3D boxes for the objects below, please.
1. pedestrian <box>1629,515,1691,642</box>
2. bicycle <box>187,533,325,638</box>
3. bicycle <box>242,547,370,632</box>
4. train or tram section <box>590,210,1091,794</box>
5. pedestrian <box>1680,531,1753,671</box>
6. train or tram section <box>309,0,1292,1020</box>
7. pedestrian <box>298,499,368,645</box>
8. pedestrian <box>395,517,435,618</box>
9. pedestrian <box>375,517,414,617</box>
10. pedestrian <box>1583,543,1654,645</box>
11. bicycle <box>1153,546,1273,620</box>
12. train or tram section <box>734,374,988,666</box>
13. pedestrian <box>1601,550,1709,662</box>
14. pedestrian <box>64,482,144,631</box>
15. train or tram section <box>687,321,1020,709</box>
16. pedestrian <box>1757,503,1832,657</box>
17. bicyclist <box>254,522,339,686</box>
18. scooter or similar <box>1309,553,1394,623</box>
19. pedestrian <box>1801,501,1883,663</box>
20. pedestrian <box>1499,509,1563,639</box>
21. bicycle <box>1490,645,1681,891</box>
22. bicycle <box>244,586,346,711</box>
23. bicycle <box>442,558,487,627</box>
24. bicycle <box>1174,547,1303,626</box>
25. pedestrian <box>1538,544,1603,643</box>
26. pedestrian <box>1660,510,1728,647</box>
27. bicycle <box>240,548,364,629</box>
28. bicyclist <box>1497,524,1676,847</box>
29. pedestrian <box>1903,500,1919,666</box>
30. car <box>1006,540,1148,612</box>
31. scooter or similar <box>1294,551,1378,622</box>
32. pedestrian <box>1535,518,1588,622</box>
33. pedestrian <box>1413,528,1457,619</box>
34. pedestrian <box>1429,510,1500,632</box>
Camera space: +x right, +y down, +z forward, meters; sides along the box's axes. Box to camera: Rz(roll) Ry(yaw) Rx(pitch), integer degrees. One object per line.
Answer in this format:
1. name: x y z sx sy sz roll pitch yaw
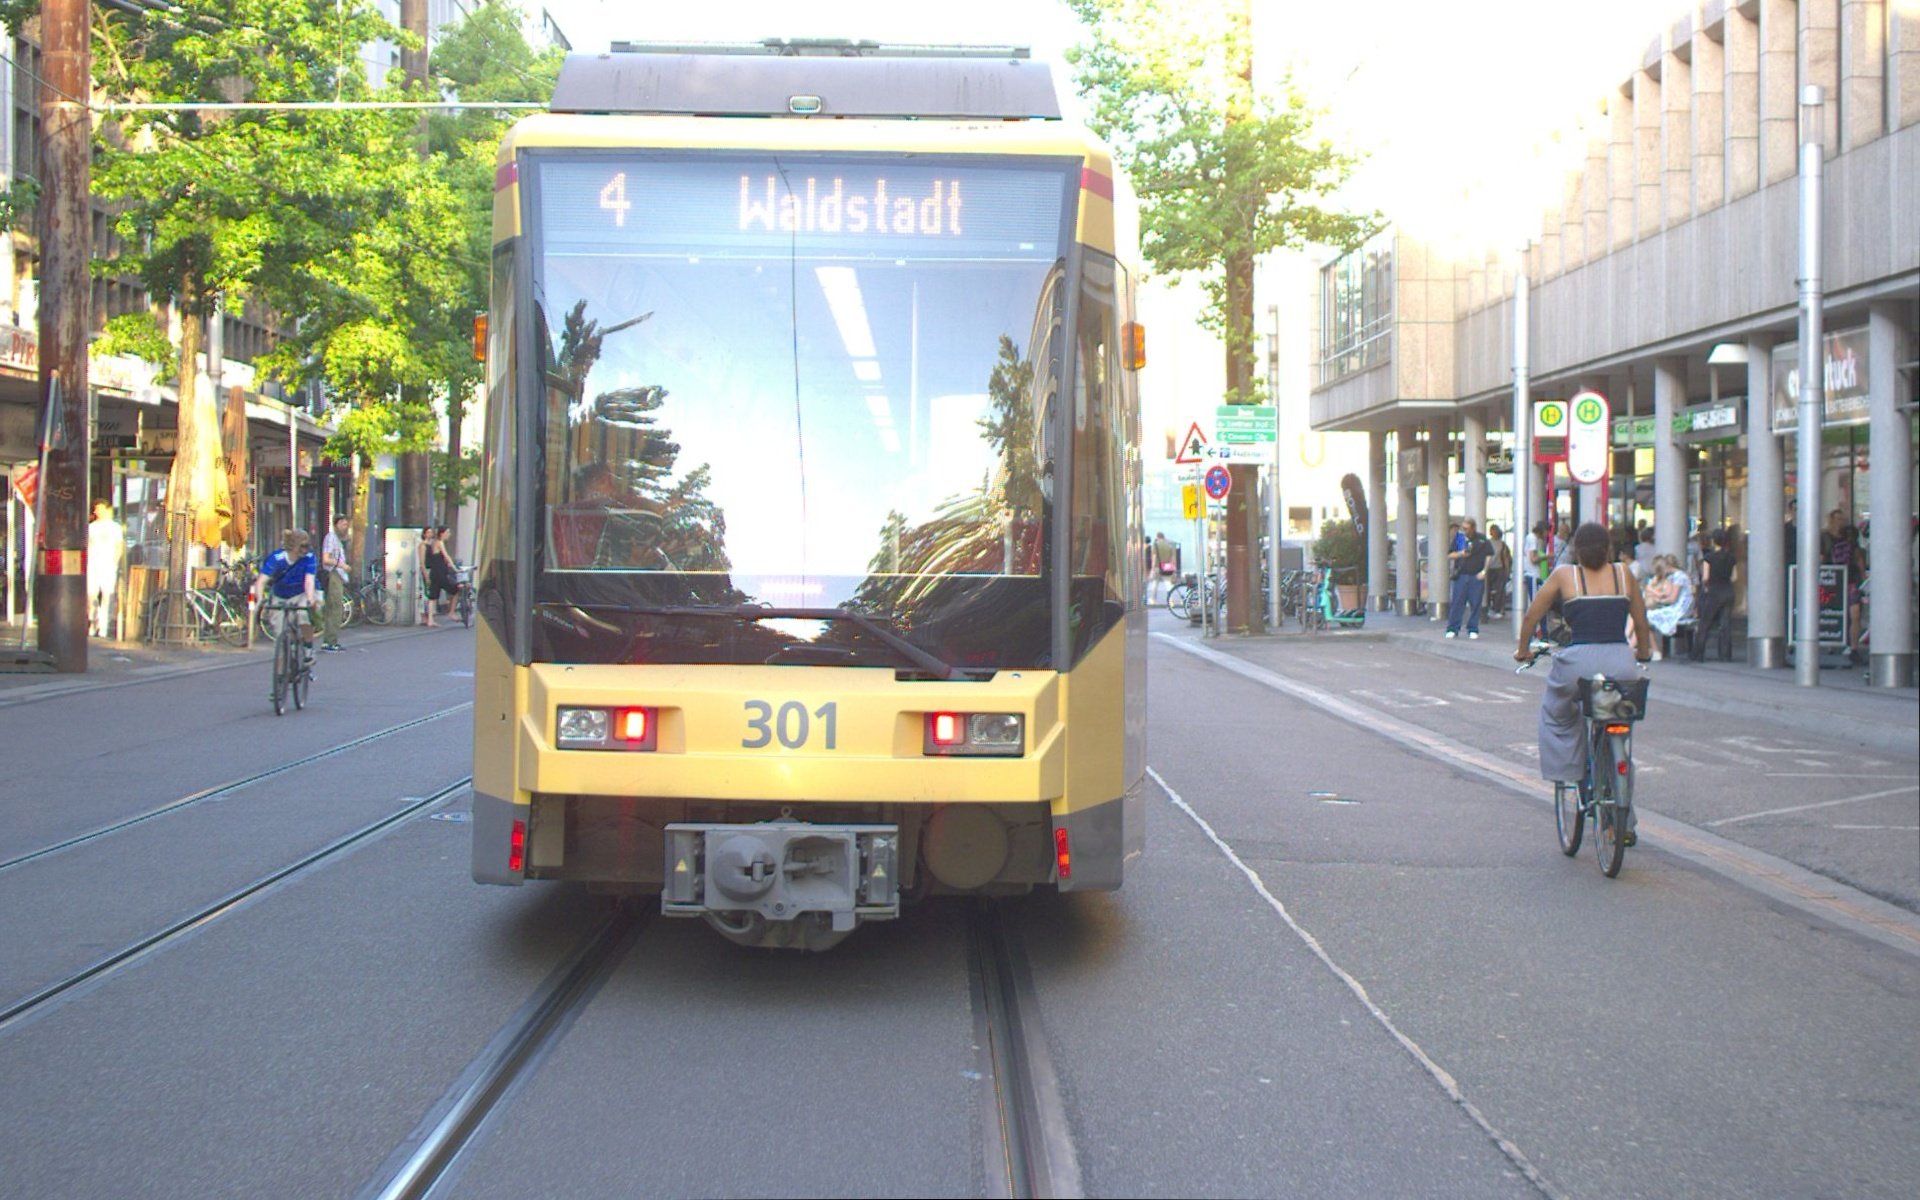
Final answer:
1. pedestrian: 10.333 -0.323 50.761 0.701 1.833 0.829 -2 2 0
2. bicycle: -9.805 -0.203 47.868 1.796 1.355 0.660 3 0 -12
3. bicycle: -9.434 -0.150 49.627 1.733 1.122 0.613 3 0 -7
4. train or tram section: -0.850 -0.678 26.179 3.007 3.511 10.403 1 1 -1
5. pedestrian: 9.011 0.003 40.972 0.701 1.632 0.646 -2 2 0
6. train or tram section: -0.611 -0.529 15.798 3.016 3.511 10.371 0 1 -1
7. pedestrian: -8.206 -0.364 45.011 0.750 1.873 0.576 3 0 -5
8. pedestrian: -9.272 -0.555 58.525 0.551 1.681 0.576 3 0 -5
9. pedestrian: -9.739 -0.563 59.155 0.573 1.681 0.553 3 0 -10
10. pedestrian: 8.835 -0.087 46.138 0.806 1.323 0.626 -2 2 0
11. bicycle: 5.134 -0.342 69.787 2.328 1.466 0.791 1 0 -4
12. train or tram section: -1.338 -1.067 47.489 3.044 3.511 10.532 1 1 -1
13. pedestrian: 8.559 0.063 42.369 1.112 1.323 0.926 -2 1 0
14. pedestrian: -11.711 -0.594 47.054 0.849 2.007 0.921 1 0 -1
15. train or tram section: -1.097 -0.864 36.803 3.003 3.511 10.846 1 1 -1
16. pedestrian: 10.108 -0.252 41.669 0.701 1.833 0.706 -2 2 0
17. bicyclist: -5.816 0.032 30.159 0.620 1.411 0.700 1 0 -3
18. scooter or similar: 6.869 -0.205 60.269 1.379 1.206 0.516 -1 0 -14
19. pedestrian: 10.278 -0.219 40.085 0.701 1.833 0.829 -2 2 0
20. pedestrian: 7.915 -0.355 47.693 0.749 1.775 0.891 1 0 3
21. bicycle: 3.046 0.790 16.910 0.656 1.057 2.057 2 1 4
22. bicycle: -5.828 0.410 30.180 0.641 1.019 1.589 2 1 -3
23. bicycle: -8.366 -0.134 58.100 0.611 1.122 2.252 3 0 -6
24. bicycle: 5.314 -0.254 65.696 2.328 1.466 0.791 1 0 -4
25. pedestrian: 8.511 -0.095 47.946 0.739 1.323 0.720 -2 2 0
26. pedestrian: 10.019 -0.303 46.948 0.701 1.833 0.829 -2 2 0
27. bicycle: -9.959 -0.172 52.054 1.733 1.122 0.563 3 0 -4
28. bicyclist: 3.056 0.406 16.827 0.726 1.521 0.733 2 0 3
29. pedestrian: 10.915 -0.197 38.210 0.596 1.833 0.829 -2 2 0
30. car: 2.677 -0.531 78.056 1.645 1.588 3.913 1 0 28
31. scooter or similar: 6.693 -0.240 61.159 1.379 1.246 0.557 -1 0 -8
32. pedestrian: 9.869 -0.497 56.432 0.701 1.678 0.680 -2 2 0
33. pedestrian: 8.984 -0.507 65.077 0.701 1.678 0.680 -2 2 0
34. pedestrian: 7.471 -0.427 50.897 0.888 1.775 0.752 1 0 -2
